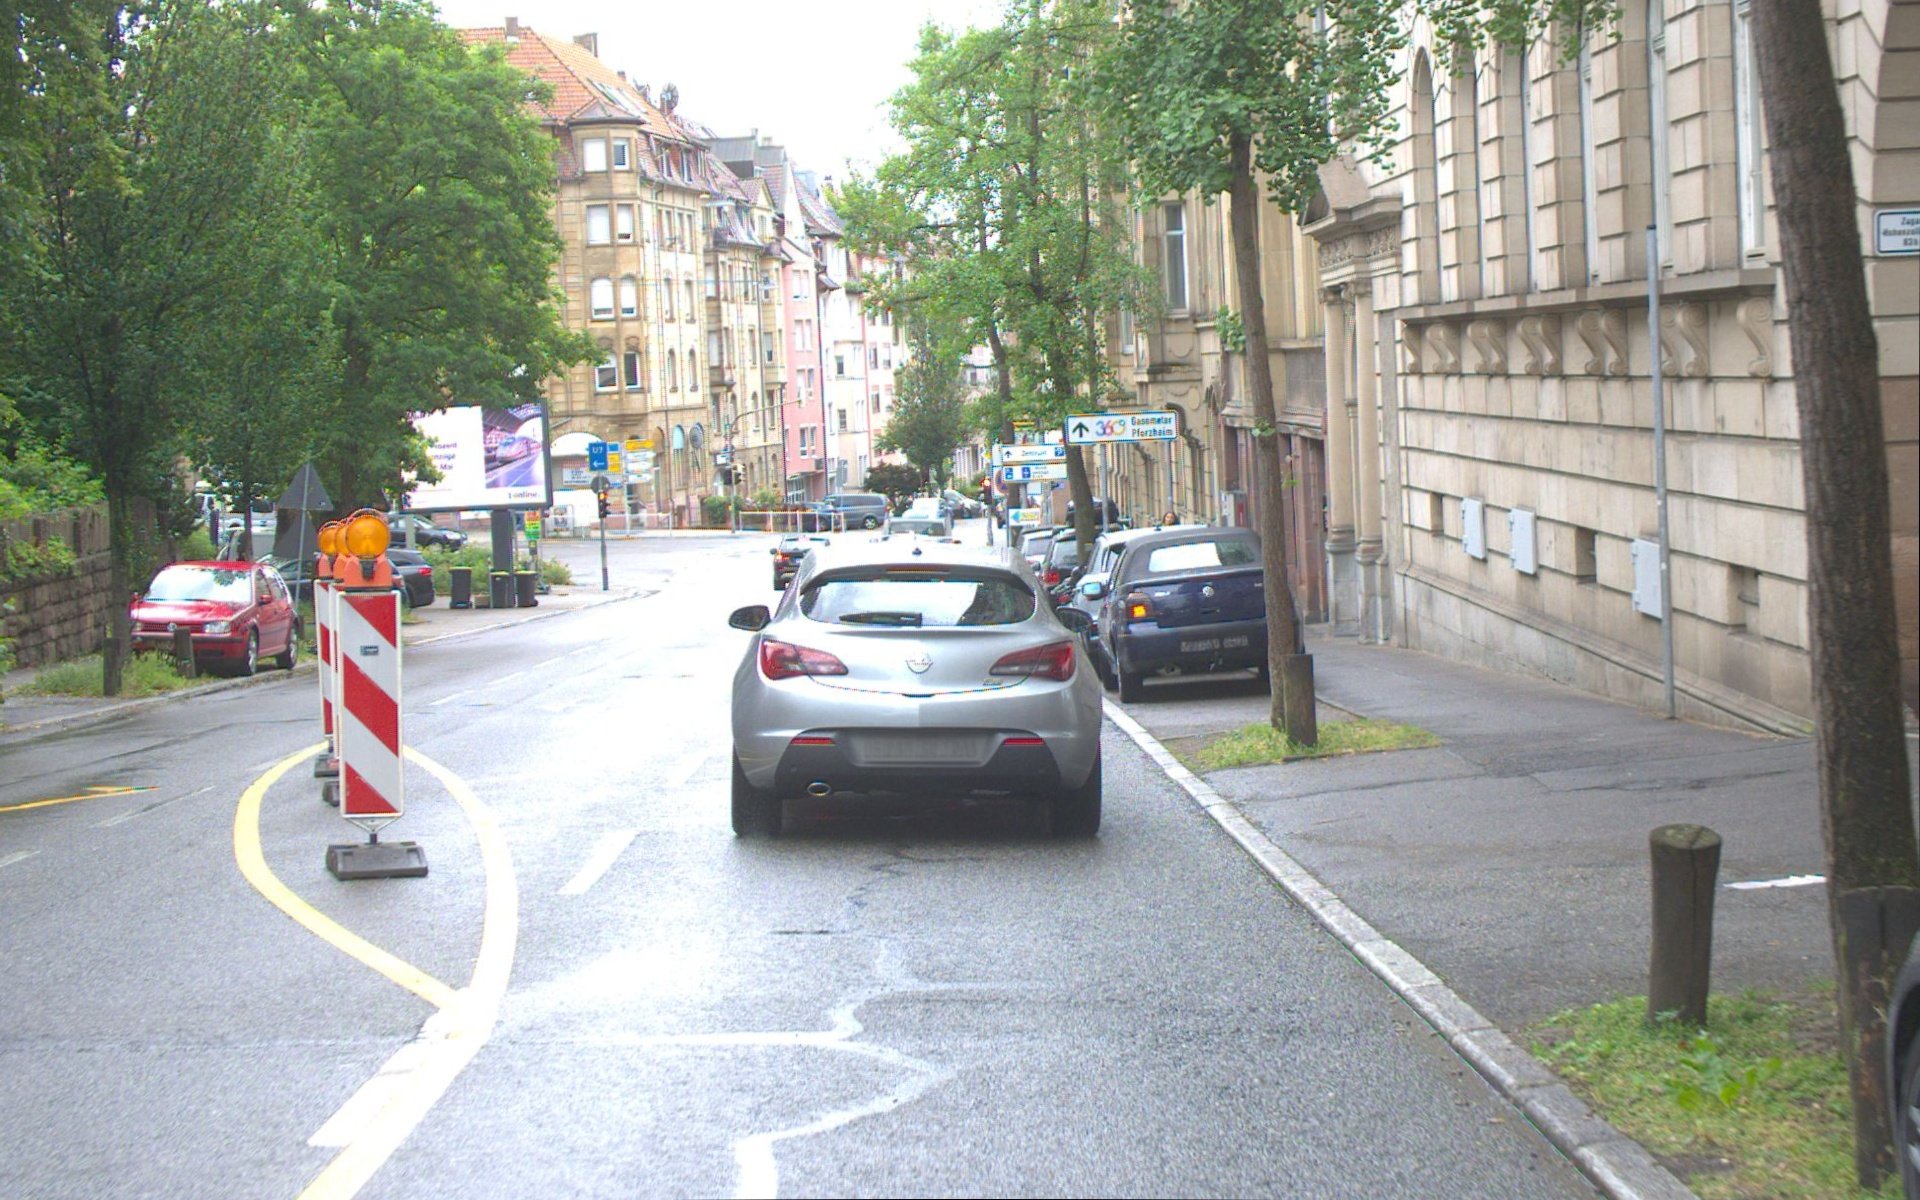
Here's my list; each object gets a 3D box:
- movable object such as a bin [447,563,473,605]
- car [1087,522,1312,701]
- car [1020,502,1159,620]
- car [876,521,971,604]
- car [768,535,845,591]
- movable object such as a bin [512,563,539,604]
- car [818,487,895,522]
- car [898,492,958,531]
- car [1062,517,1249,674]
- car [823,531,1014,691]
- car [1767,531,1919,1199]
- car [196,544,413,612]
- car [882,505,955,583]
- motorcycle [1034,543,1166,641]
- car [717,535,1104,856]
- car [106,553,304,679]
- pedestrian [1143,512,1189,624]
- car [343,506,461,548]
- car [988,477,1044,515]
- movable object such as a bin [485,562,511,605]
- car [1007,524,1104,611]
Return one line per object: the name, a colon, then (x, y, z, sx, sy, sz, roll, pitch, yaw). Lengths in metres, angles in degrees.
movable object such as a bin: (-12.716, -0.405, 87.427, 0.625, 1.055, 0.634, 1, 1, -7)
car: (2.077, 0.059, 30.582, 1.637, 1.424, 3.377, -2, 2, -1)
car: (1.867, -0.597, 50.523, 1.637, 1.597, 3.858, -2, 2, -3)
car: (-0.763, -0.779, 69.787, 1.656, 1.537, 3.666, -4, 1, -3)
car: (-4.316, -1.066, 97.160, 1.993, 1.495, 4.000, -2, 1, 0)
movable object such as a bin: (-11.184, -0.427, 88.462, 0.658, 1.055, 0.627, 1, 1, -9)
car: (-5.381, -4.982, 179.148, 3.987, 1.744, 2.000, 1, 1, -1)
car: (-1.427, -3.982, 154.755, 1.994, 1.678, 3.998, 1, 1, 9)
car: (1.981, -0.092, 35.694, 1.637, 1.464, 3.858, -2, 2, 0)
car: (-0.477, 0.064, 35.485, 1.772, 1.499, 3.870, -1, 2, -3)
car: (2.487, 0.609, 3.975, 1.757, 1.456, 4.724, -5, 2, -2)
car: (-13.955, -0.491, 73.186, 4.308, 1.239, 1.643, -3, 2, -19)
car: (-0.978, -1.343, 81.886, 1.656, 1.776, 3.666, -1, 1, 0)
motorcycle: (1.804, -0.115, 44.100, 0.657, 1.231, 1.977, 0, 1, 39)
car: (-0.288, 0.413, 18.135, 1.811, 1.444, 3.870, -1, 2, -2)
car: (-9.729, 0.173, 44.568, 1.637, 1.434, 4.080, -2, 2, 0)
pedestrian: (3.448, -0.542, 57.606, 0.716, 1.863, 0.636, 0, 0, -1)
car: (-21.334, -2.806, 131.542, 4.227, 1.579, 1.940, 0, 2, -1)
car: (2.573, -4.763, 157.797, 1.994, 1.678, 3.998, 1, 1, 9)
movable object such as a bin: (-11.740, -0.422, 87.301, 0.625, 1.055, 0.720, 1, 1, -7)
car: (1.789, -0.634, 65.287, 1.637, 1.519, 3.858, -2, 2, 0)
